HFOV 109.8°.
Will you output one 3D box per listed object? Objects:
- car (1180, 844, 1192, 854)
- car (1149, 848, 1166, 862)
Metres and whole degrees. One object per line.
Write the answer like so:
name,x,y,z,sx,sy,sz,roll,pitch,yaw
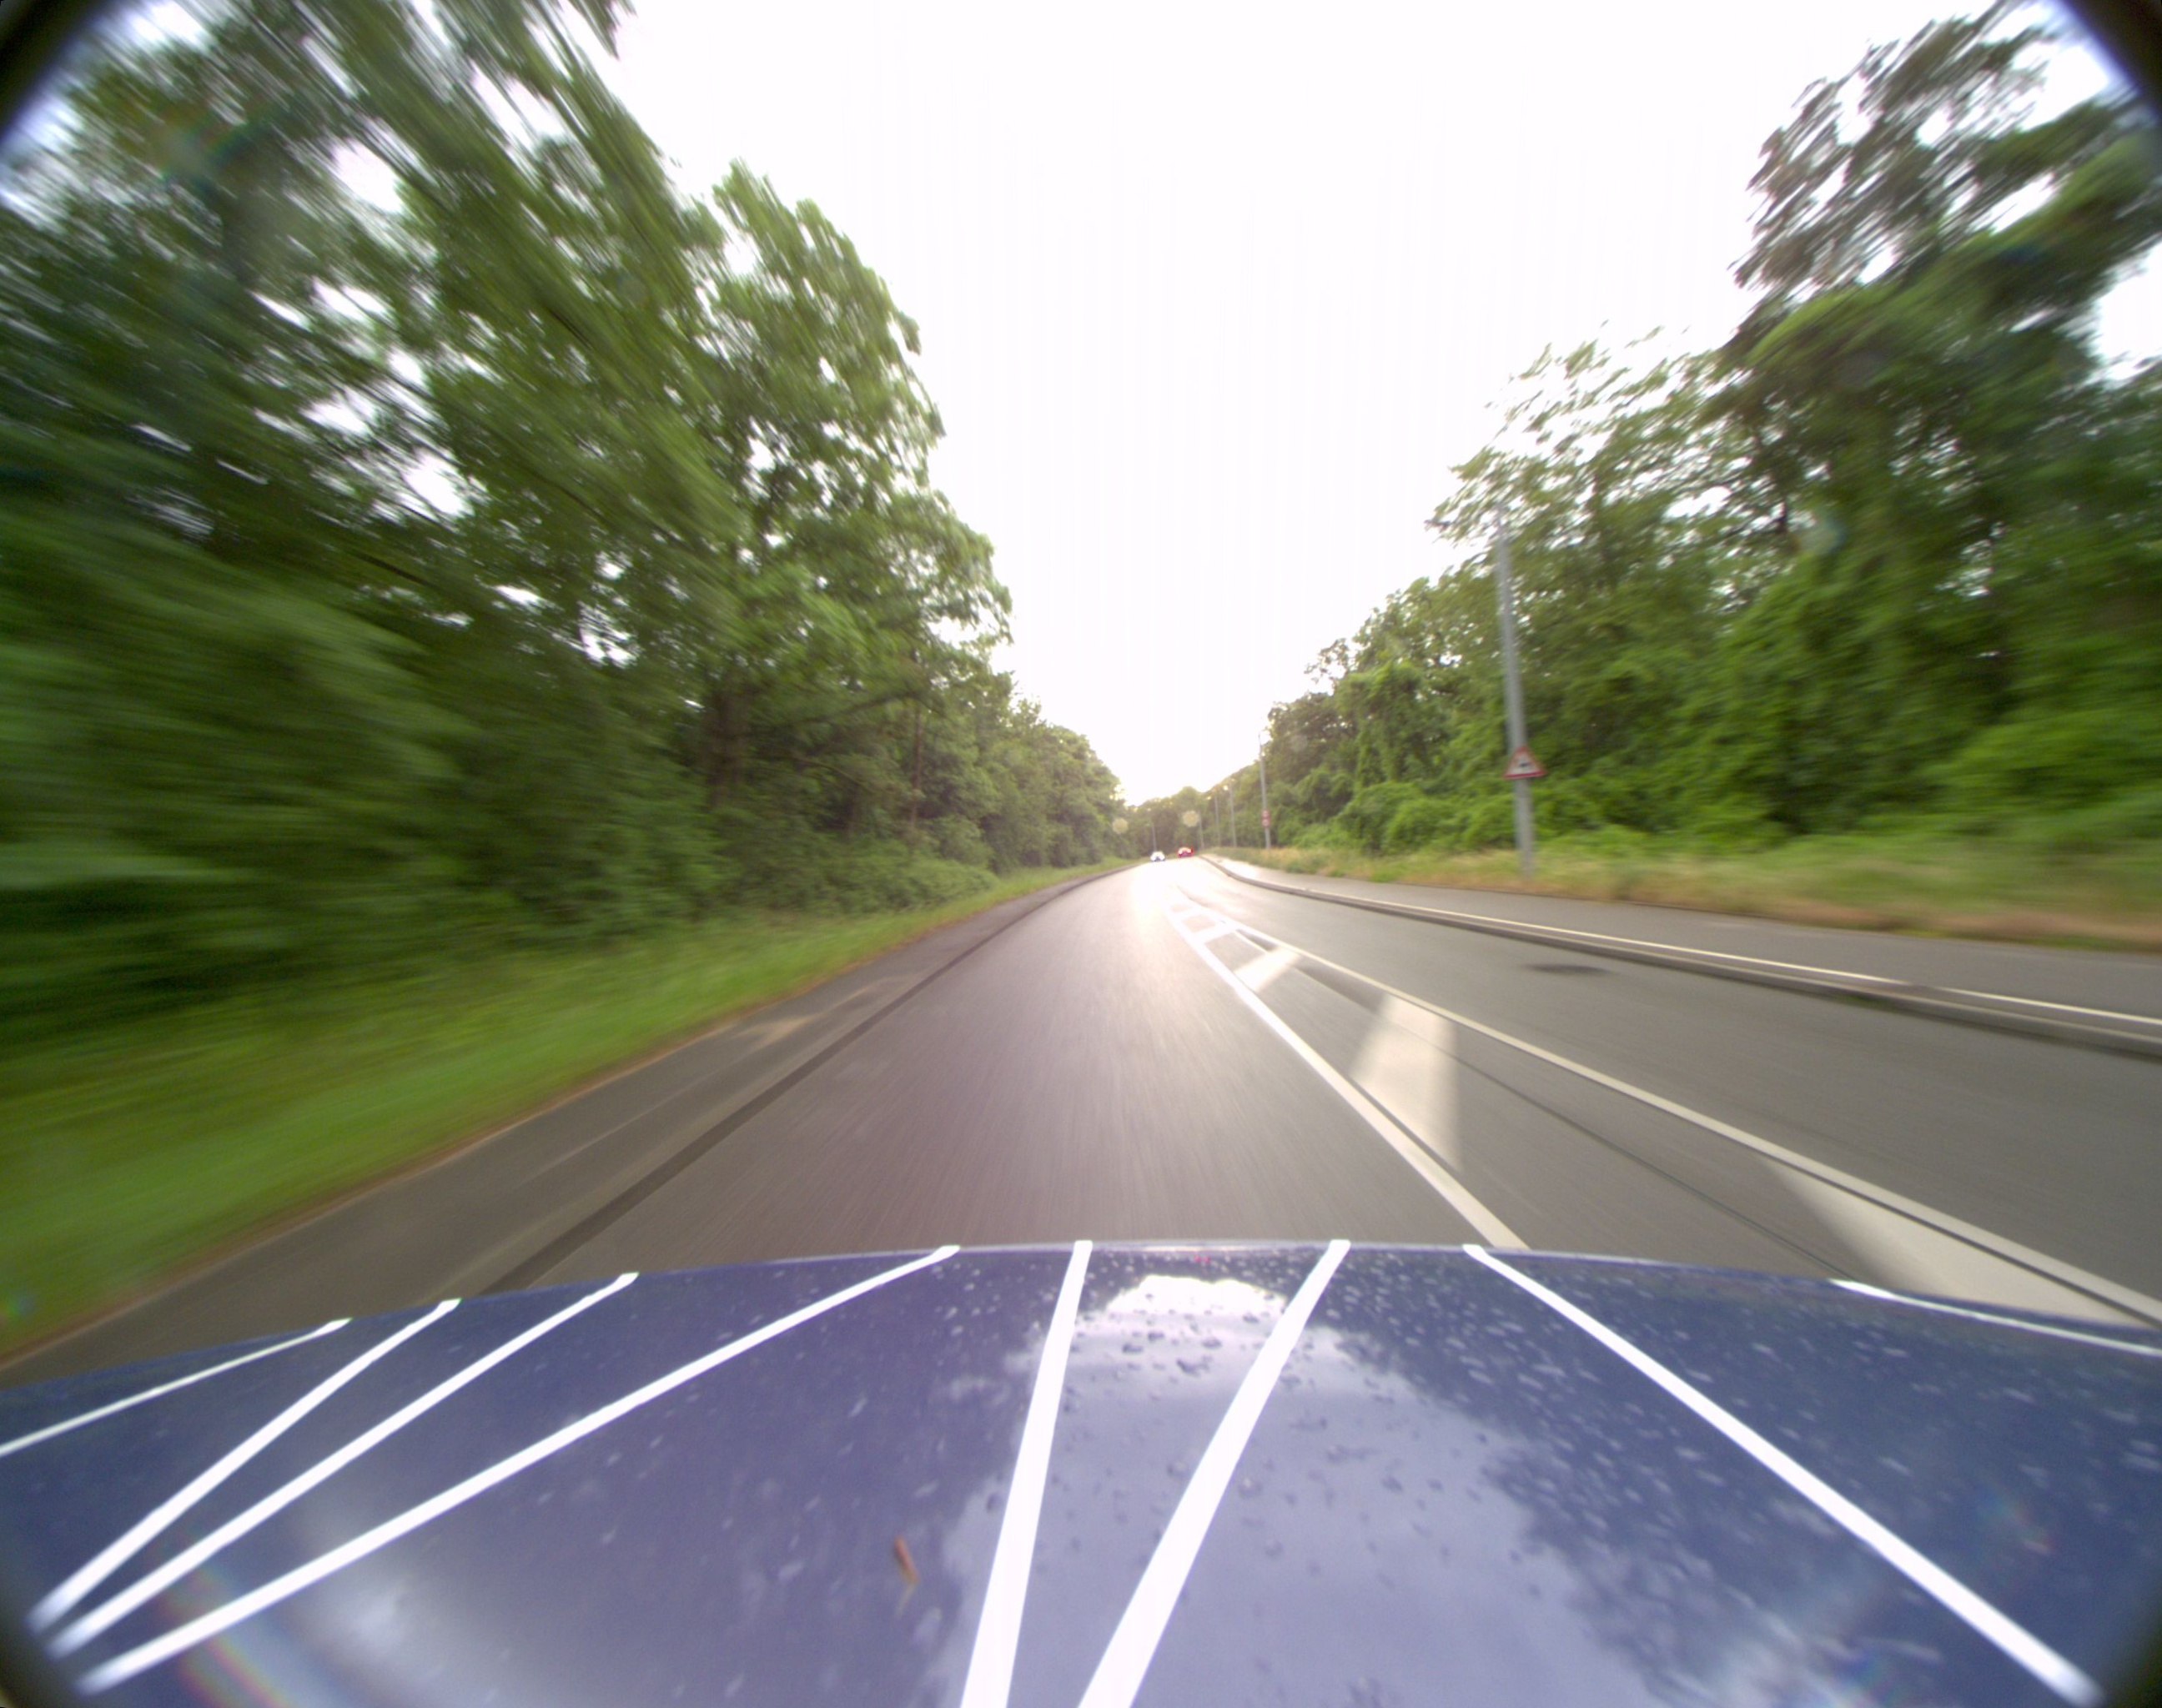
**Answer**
car,18.176,-0.829,131.586,1.997,1.674,4.002,-3,0,9
car,10.564,0.115,104.705,1.997,1.674,4.002,-3,0,9
